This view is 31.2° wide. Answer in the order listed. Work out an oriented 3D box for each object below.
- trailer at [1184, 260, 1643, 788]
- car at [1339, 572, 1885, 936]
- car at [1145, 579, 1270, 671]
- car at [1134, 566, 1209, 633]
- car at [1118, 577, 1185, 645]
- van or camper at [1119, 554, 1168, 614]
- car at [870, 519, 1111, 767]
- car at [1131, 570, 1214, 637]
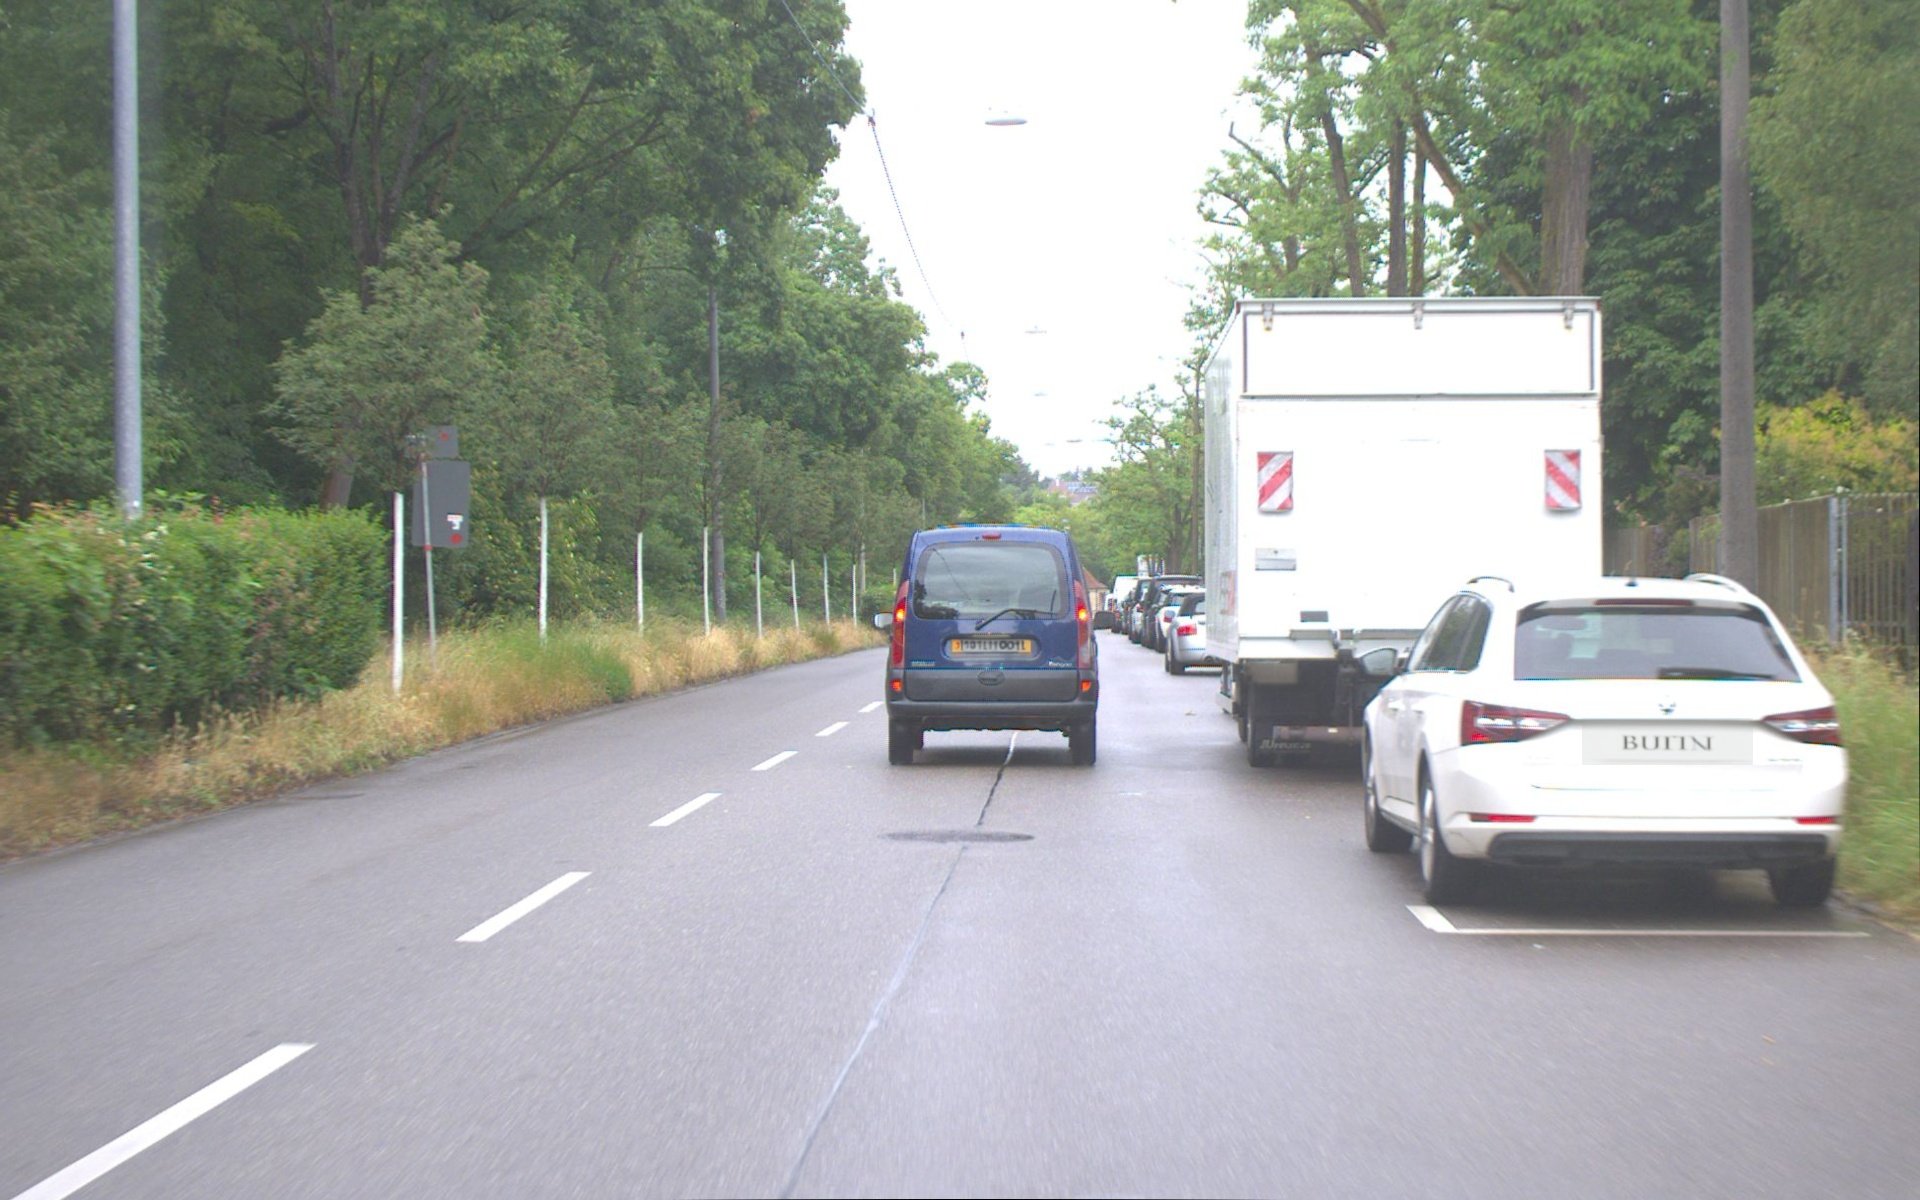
[{"bbox_3d":[3.300,-0.553,27.133,2.734,3.496,8.247,1,1,2],"label":"trailer"},{"bbox_3d":[2.934,0.614,16.433,1.796,1.469,4.548,1,1,1],"label":"car"},{"bbox_3d":[3.942,0.380,55.271,1.782,1.390,4.000,1,1,1],"label":"car"},{"bbox_3d":[5.047,-0.029,82.265,1.679,1.550,4.075,1,1,2],"label":"car"},{"bbox_3d":[5.933,0.320,106.827,1.994,2.007,4.887,1,1,3],"label":"car"},{"bbox_3d":[8.315,-0.751,156.103,2.078,2.641,5.345,1,1,2],"label":"van or camper"},{"bbox_3d":[0.205,0.301,27.313,1.767,1.824,3.542,1,1,-1],"label":"car"},{"bbox_3d":[4.755,0.063,77.307,1.738,1.459,3.724,1,1,2],"label":"car"}]
